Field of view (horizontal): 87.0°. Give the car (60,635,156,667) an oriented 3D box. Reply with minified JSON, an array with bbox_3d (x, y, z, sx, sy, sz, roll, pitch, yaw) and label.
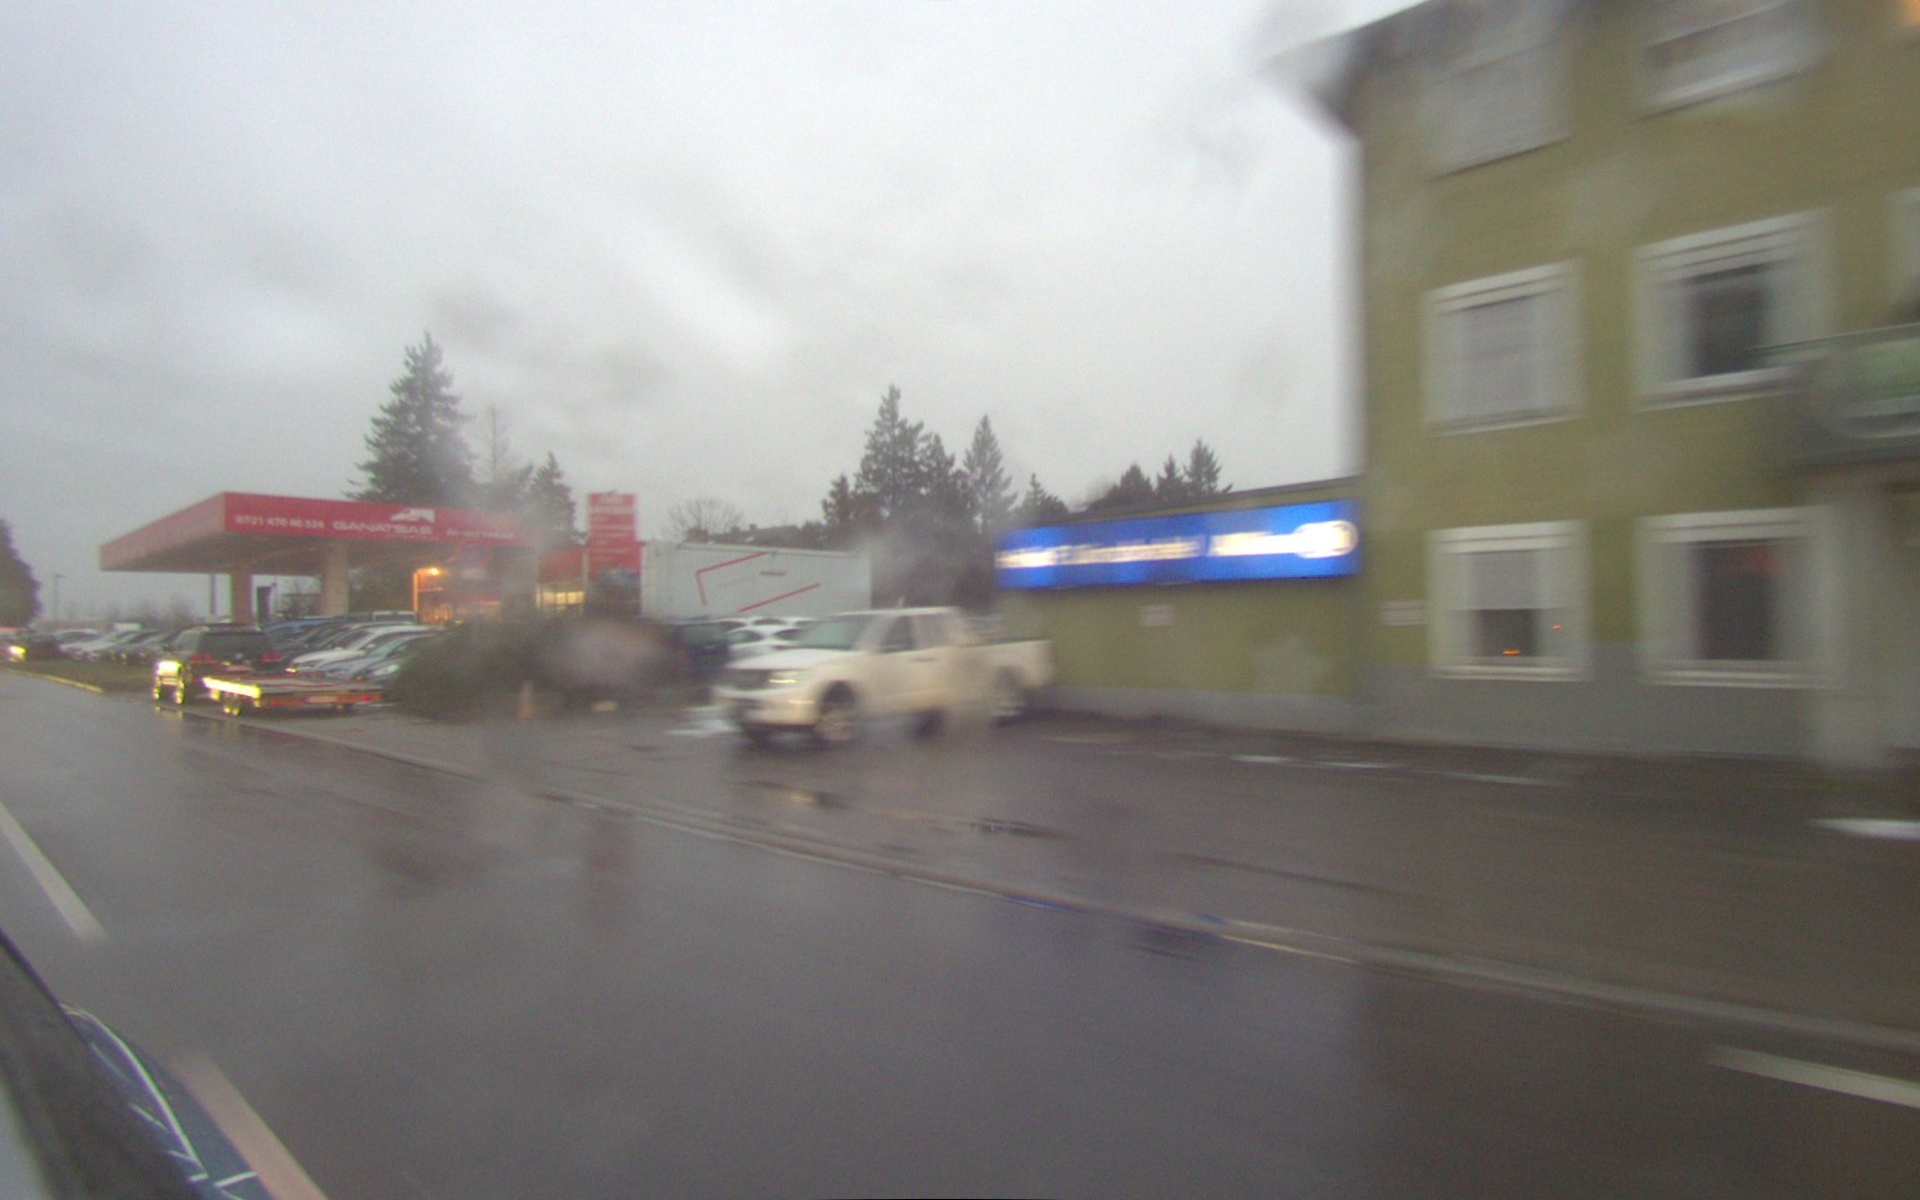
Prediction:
[{"bbox_3d":[-48.185,2.845,57.273,1.942,1.662,4.002,-2,-2,44],"label":"car"}]

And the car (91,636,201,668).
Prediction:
[{"bbox_3d":[-38.244,2.403,47.609,1.839,1.356,3.818,-2,-2,41],"label":"car"}]

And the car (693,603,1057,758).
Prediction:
[{"bbox_3d":[-1.003,0.973,14.384,2.000,1.804,5.131,-2,-2,44],"label":"car"}]

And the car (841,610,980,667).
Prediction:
[{"bbox_3d":[-1.545,1.147,30.841,3.998,1.637,1.972,-2,-2,42],"label":"car"}]

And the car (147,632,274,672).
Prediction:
[{"bbox_3d":[-30.087,2.055,40.679,1.839,1.452,3.818,-2,-2,41],"label":"car"}]

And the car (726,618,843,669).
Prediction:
[{"bbox_3d":[-5.735,1.380,32.833,3.905,1.541,1.717,-2,-2,42],"label":"car"}]

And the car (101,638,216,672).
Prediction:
[{"bbox_3d":[-36.134,2.447,45.678,1.839,1.356,3.818,-2,-2,41],"label":"car"}]

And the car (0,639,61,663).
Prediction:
[{"bbox_3d":[-86.582,4.670,93.475,2.058,2.167,5.091,-3,-4,42],"label":"car"}]

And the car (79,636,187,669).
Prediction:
[{"bbox_3d":[-40.140,2.511,49.170,1.839,1.416,3.818,-2,-2,41],"label":"car"}]

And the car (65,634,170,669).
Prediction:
[{"bbox_3d":[-43.934,2.673,52.835,1.823,1.566,3.988,-3,-1,41],"label":"car"}]

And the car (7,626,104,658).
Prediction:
[{"bbox_3d":[-78.473,3.655,87.880,2.194,2.659,5.970,-3,-3,40],"label":"car"}]

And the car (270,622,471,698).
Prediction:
[{"bbox_3d":[-15.749,1.540,27.192,2.000,1.639,4.231,-2,1,42],"label":"car"}]

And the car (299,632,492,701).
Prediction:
[{"bbox_3d":[-13.956,1.583,25.169,1.719,1.439,3.851,-2,-1,43],"label":"car"}]

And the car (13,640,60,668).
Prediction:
[{"bbox_3d":[-49.970,2.885,54.733,3.741,1.431,1.664,-2,-2,44],"label":"car"}]

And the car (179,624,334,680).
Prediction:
[{"bbox_3d":[-25.375,1.838,36.617,2.000,1.675,4.231,-2,1,42],"label":"car"}]

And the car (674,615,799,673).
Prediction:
[{"bbox_3d":[-6.969,1.330,31.350,4.000,1.636,1.778,-2,0,43],"label":"car"}]

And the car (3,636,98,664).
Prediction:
[{"bbox_3d":[-61.360,3.369,68.357,2.007,1.689,4.491,-3,-2,38],"label":"car"}]

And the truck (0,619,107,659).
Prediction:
[{"bbox_3d":[-76.097,3.228,84.819,2.333,3.166,6.788,-3,-2,40],"label":"truck"}]

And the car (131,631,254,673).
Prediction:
[{"bbox_3d":[-31.938,2.125,42.184,1.839,1.571,3.818,-2,-2,41],"label":"car"}]

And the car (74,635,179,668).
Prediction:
[{"bbox_3d":[-42.118,2.574,51.176,1.943,1.420,3.818,-2,0,41],"label":"car"}]

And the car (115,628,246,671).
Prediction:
[{"bbox_3d":[-33.797,2.124,43.948,1.980,1.669,4.235,-2,-2,41],"label":"car"}]

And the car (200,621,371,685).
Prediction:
[{"bbox_3d":[-21.847,1.670,32.911,2.000,1.675,4.231,-2,1,42],"label":"car"}]

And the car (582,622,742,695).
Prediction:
[{"bbox_3d":[-7.371,1.386,24.874,3.998,1.637,1.972,-2,-2,42],"label":"car"}]

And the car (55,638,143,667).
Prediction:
[{"bbox_3d":[-51.581,3.120,60.672,1.774,1.470,3.734,-3,-1,39],"label":"car"}]

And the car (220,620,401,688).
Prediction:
[{"bbox_3d":[-19.848,1.599,31.057,2.136,1.675,4.231,-2,1,42],"label":"car"}]

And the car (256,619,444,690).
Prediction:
[{"bbox_3d":[-17.618,1.518,29.376,2.000,1.675,4.231,-2,1,42],"label":"car"}]

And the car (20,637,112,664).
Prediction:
[{"bbox_3d":[-57.404,3.216,65.053,1.825,1.509,4.289,-3,-2,42],"label":"car"}]

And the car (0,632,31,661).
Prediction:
[{"bbox_3d":[-91.637,4.391,95.163,2.175,2.652,6.090,-3,-4,42],"label":"car"}]

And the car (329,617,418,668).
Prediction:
[{"bbox_3d":[-22.853,1.623,39.379,3.998,1.883,1.866,-2,-2,42],"label":"car"}]

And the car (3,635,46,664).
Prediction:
[{"bbox_3d":[-53.001,2.796,57.309,3.014,1.555,1.502,-3,-3,42],"label":"car"}]

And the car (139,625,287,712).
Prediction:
[{"bbox_3d":[-17.678,1.552,23.880,4.511,1.844,1.949,-2,-3,42],"label":"car"}]

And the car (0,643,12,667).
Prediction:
[{"bbox_3d":[-69.266,3.950,72.912,1.157,1.657,2.875,1,-3,-40],"label":"car"}]

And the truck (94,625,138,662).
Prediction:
[{"bbox_3d":[-81.390,4.251,97.580,5.844,3.481,2.011,-3,-4,38],"label":"truck"}]

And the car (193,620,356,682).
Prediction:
[{"bbox_3d":[-23.502,1.708,34.811,2.000,1.777,4.231,-2,1,42],"label":"car"}]

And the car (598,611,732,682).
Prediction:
[{"bbox_3d":[-8.655,1.317,29.558,3.998,1.918,1.972,-2,-2,42],"label":"car"}]

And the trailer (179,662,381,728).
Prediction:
[{"bbox_3d":[-13.723,1.807,20.231,6.102,1.047,1.972,-2,-3,42],"label":"trailer"}]

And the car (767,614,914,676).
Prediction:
[{"bbox_3d":[-3.426,1.239,28.635,3.998,1.637,1.972,-2,-2,42],"label":"car"}]

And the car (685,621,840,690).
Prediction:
[{"bbox_3d":[-5.185,1.398,26.322,3.998,1.637,1.972,-2,-2,42],"label":"car"}]

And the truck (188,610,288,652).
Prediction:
[{"bbox_3d":[-81.090,3.470,113.895,2.996,4.293,8.623,-2,0,31],"label":"truck"}]

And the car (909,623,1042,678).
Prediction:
[{"bbox_3d":[0.457,1.598,32.727,3.998,1.637,1.972,-2,-2,42],"label":"car"}]

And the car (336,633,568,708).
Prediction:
[{"bbox_3d":[-11.842,1.576,23.859,1.918,1.595,4.510,-2,-3,41],"label":"car"}]
